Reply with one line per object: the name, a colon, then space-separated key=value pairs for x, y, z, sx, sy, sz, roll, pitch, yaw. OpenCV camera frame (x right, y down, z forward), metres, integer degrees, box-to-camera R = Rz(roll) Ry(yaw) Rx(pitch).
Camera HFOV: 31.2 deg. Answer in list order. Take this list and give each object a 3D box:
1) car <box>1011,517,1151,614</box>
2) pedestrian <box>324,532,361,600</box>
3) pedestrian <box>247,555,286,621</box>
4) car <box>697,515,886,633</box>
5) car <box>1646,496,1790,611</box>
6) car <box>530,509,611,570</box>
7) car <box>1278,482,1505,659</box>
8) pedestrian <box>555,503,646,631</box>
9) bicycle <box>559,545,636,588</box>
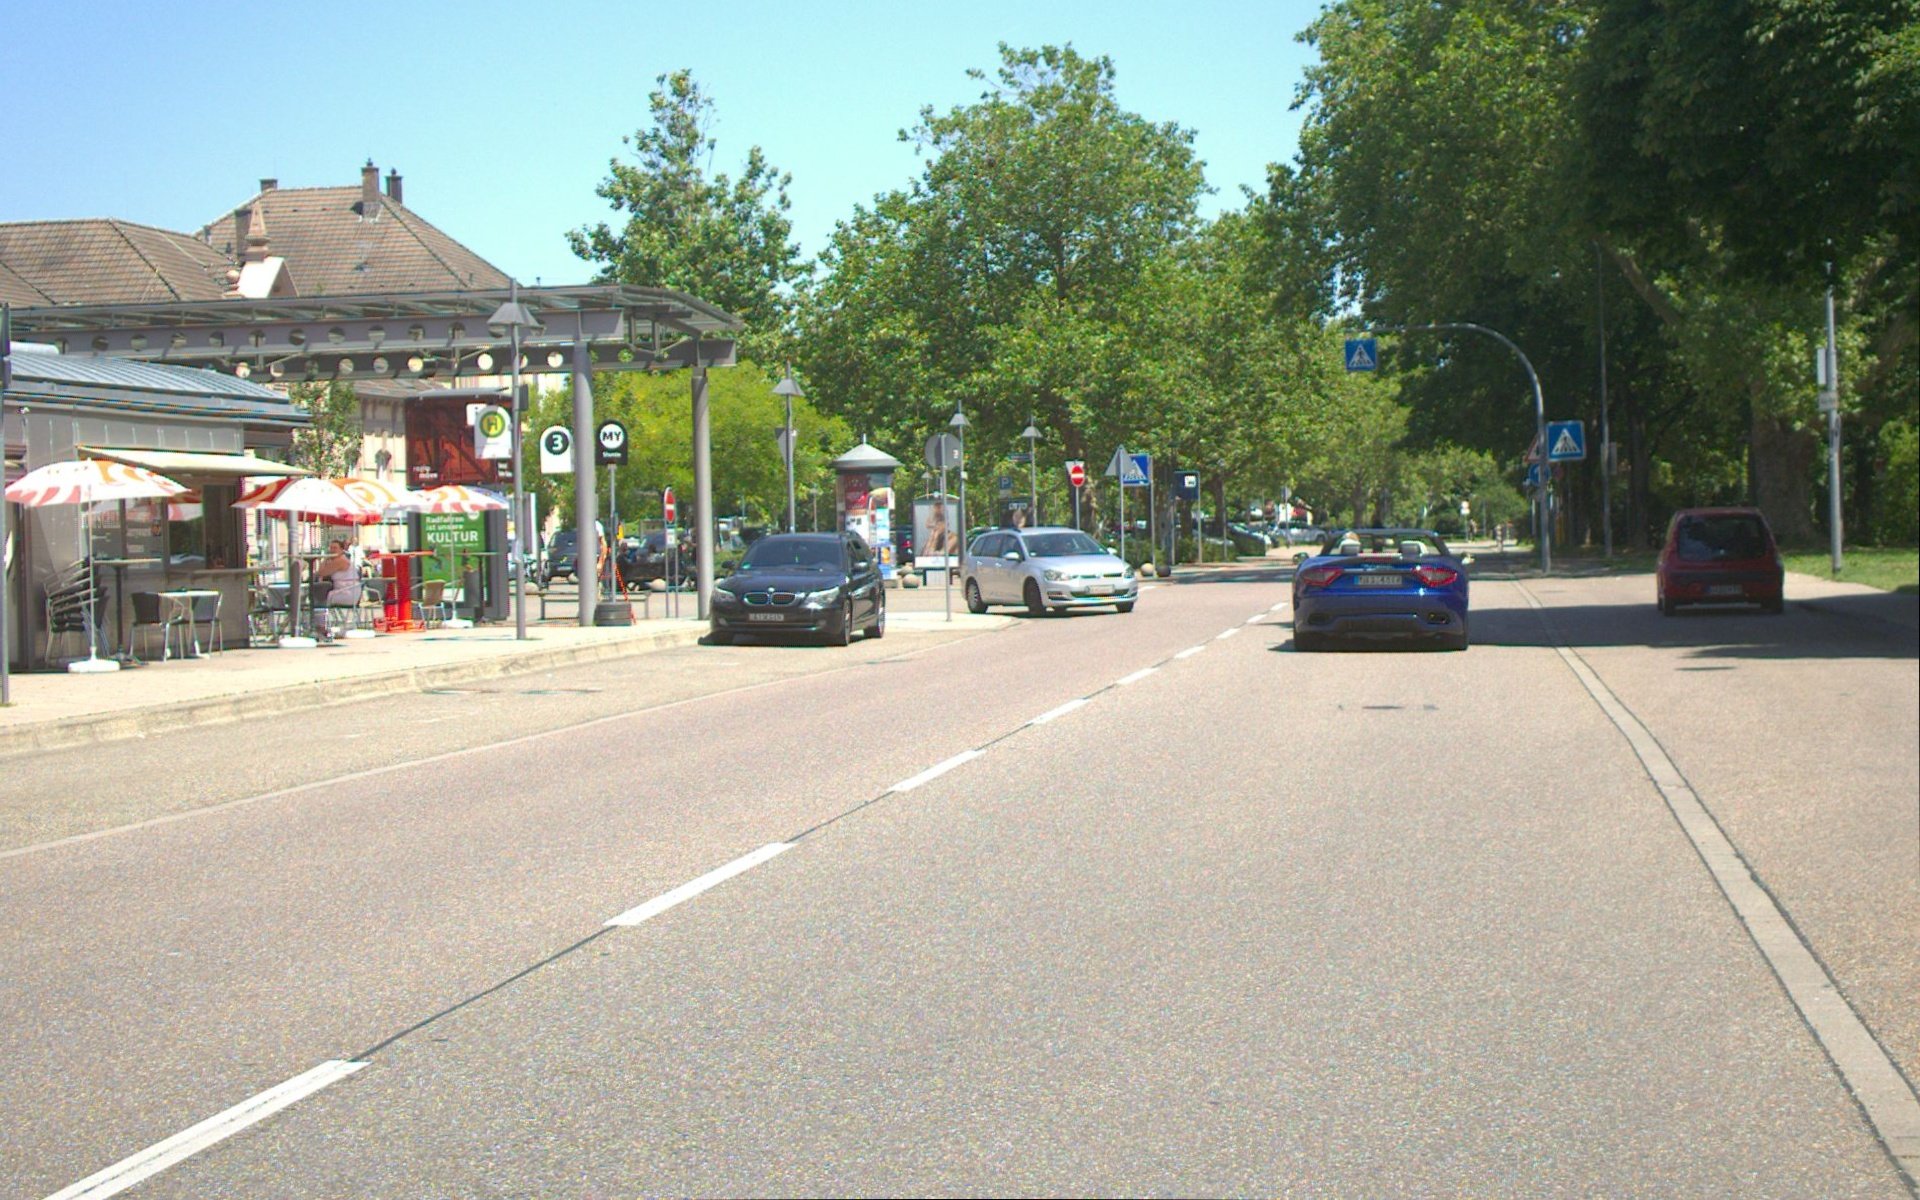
car: x=2.055 y=-0.600 z=57.231 sx=1.815 sy=1.439 sz=4.157 roll=-2 pitch=2 yaw=9
pedestrian: x=-15.319 y=-0.838 z=85.229 sx=0.655 sy=1.667 sz=0.631 roll=-1 pitch=-1 yaw=-38
pedestrian: x=-10.265 y=-0.180 z=50.887 sx=0.425 sy=0.969 sz=0.371 roll=-2 pitch=-1 yaw=21
car: x=-2.219 y=-0.384 z=46.530 sx=1.719 sy=1.473 sz=4.785 roll=-2 pitch=1 yaw=7
car: x=10.383 y=-0.657 z=47.257 sx=1.719 sy=1.473 sz=3.705 roll=-2 pitch=1 yaw=10
car: x=-13.938 y=-2.198 z=123.235 sx=1.994 sy=2.006 sz=4.000 roll=-1 pitch=3 yaw=6
car: x=4.849 y=-0.341 z=38.207 sx=2.126 sy=1.842 sz=4.046 roll=-1 pitch=1 yaw=12
pedestrian: x=-5.236 y=-0.478 z=50.131 sx=0.800 sy=1.821 sz=1.141 roll=-2 pitch=-1 yaw=25
bicycle: x=-8.850 y=-0.822 z=83.999 sx=1.792 sy=1.027 sz=0.489 roll=-1 pitch=1 yaw=-15
